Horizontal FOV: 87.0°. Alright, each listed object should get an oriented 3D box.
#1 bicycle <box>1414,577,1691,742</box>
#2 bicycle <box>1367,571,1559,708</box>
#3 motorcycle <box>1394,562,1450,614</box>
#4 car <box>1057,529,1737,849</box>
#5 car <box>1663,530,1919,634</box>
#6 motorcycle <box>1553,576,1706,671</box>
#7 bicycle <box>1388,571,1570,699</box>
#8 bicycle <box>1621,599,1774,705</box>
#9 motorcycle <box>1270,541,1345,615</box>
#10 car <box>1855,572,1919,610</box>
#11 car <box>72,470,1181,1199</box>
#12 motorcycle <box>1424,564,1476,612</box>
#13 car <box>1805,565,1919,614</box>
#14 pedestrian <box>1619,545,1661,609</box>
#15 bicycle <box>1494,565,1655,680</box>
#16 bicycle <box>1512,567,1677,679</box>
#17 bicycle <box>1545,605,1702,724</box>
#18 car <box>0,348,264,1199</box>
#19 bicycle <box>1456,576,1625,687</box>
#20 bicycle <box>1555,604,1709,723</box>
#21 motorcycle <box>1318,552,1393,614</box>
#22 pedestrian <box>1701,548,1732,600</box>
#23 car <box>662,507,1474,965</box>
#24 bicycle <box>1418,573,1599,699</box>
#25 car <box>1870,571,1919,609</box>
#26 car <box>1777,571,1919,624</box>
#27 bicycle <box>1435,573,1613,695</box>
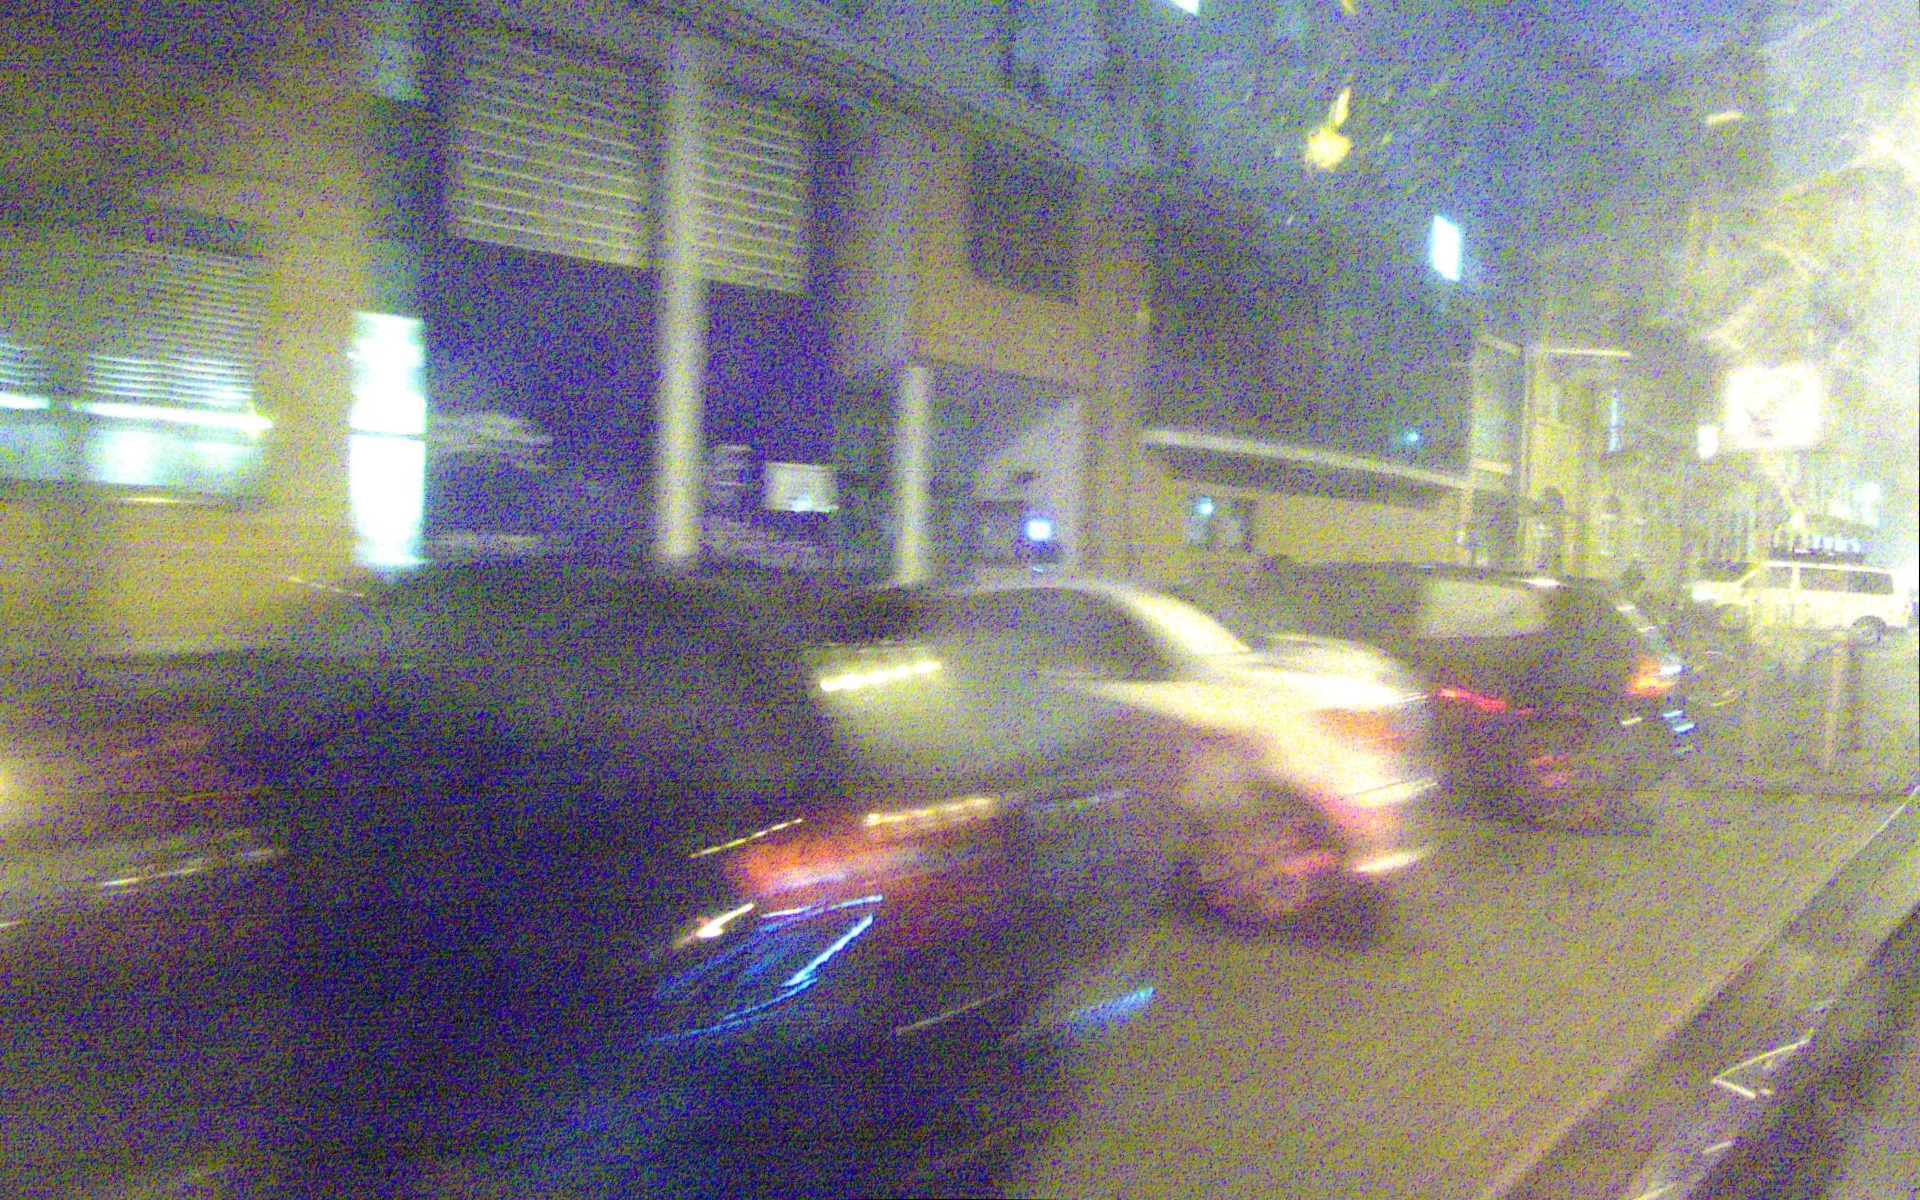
[{"bbox_3d":[5.045,0.442,8.752,0.667,1.172,1.896,0,4,-37],"label":"bicycle"},{"bbox_3d":[4.941,0.343,10.046,0.529,1.172,1.603,1,4,-32],"label":"bicycle"},{"bbox_3d":[10.093,-0.281,22.069,0.522,1.080,2.027,2,3,42],"label":"motorcycle"},{"bbox_3d":[2.690,0.378,6.842,3.675,1.540,1.643,4,4,25],"label":"car"},{"bbox_3d":[21.392,-0.515,25.999,4.873,2.369,2.221,3,3,16],"label":"car"},{"bbox_3d":[9.369,0.296,14.196,1.633,1.137,0.643,7,5,43],"label":"motorcycle"},{"bbox_3d":[5.409,0.322,10.626,0.411,1.172,1.598,0,4,-43],"label":"bicycle"},{"bbox_3d":[7.892,0.528,10.869,0.297,0.959,1.213,0,6,-43],"label":"bicycle"},{"bbox_3d":[6.615,-0.415,19.182,0.522,1.335,2.093,3,2,43],"label":"motorcycle"},{"bbox_3d":[41.346,-0.316,43.387,4.052,1.509,1.589,4,3,12],"label":"car"},{"bbox_3d":[-1.040,0.524,3.011,3.021,1.571,1.490,2,2,29],"label":"car"},{"bbox_3d":[11.399,-0.283,23.528,1.597,1.080,0.523,-1,2,-43],"label":"motorcycle"},{"bbox_3d":[34.309,-0.414,37.765,3.754,1.709,1.825,2,3,19],"label":"car"},{"bbox_3d":[20.597,-0.699,30.656,0.828,1.863,0.747,3,2,-41],"label":"pedestrian"},{"bbox_3d":[7.522,0.242,12.448,0.410,1.249,1.585,0,4,-37],"label":"bicycle"},{"bbox_3d":[7.942,0.249,12.742,0.378,1.249,1.670,0,4,-37],"label":"bicycle"},{"bbox_3d":[6.030,0.560,9.240,0.263,0.959,1.134,0,3,-42],"label":"bicycle"},{"bbox_3d":[-2.944,0.484,1.573,3.534,1.631,1.696,2,2,29],"label":"car"},{"bbox_3d":[6.713,0.331,11.771,0.411,1.125,1.598,0,4,-43],"label":"bicycle"},{"bbox_3d":[6.229,0.560,9.419,0.244,0.986,1.134,-1,3,-42],"label":"bicycle"},{"bbox_3d":[8.204,-0.359,20.937,2.089,1.222,0.523,0,2,-42],"label":"motorcycle"},{"bbox_3d":[27.563,-0.951,36.873,0.770,1.811,0.657,3,2,-41],"label":"pedestrian"},{"bbox_3d":[0.476,0.386,5.170,3.675,1.540,1.643,4,4,25],"label":"car"},{"bbox_3d":[5.823,0.340,10.820,0.411,1.172,1.598,0,4,-43],"label":"bicycle"},{"bbox_3d":[43.553,-0.405,45.580,3.347,1.611,1.589,4,3,14],"label":"car"},{"bbox_3d":[29.624,-0.105,33.600,3.460,1.580,1.588,3,3,14],"label":"car"},{"bbox_3d":[6.152,0.334,11.106,0.411,1.172,1.598,0,4,-43],"label":"bicycle"}]
